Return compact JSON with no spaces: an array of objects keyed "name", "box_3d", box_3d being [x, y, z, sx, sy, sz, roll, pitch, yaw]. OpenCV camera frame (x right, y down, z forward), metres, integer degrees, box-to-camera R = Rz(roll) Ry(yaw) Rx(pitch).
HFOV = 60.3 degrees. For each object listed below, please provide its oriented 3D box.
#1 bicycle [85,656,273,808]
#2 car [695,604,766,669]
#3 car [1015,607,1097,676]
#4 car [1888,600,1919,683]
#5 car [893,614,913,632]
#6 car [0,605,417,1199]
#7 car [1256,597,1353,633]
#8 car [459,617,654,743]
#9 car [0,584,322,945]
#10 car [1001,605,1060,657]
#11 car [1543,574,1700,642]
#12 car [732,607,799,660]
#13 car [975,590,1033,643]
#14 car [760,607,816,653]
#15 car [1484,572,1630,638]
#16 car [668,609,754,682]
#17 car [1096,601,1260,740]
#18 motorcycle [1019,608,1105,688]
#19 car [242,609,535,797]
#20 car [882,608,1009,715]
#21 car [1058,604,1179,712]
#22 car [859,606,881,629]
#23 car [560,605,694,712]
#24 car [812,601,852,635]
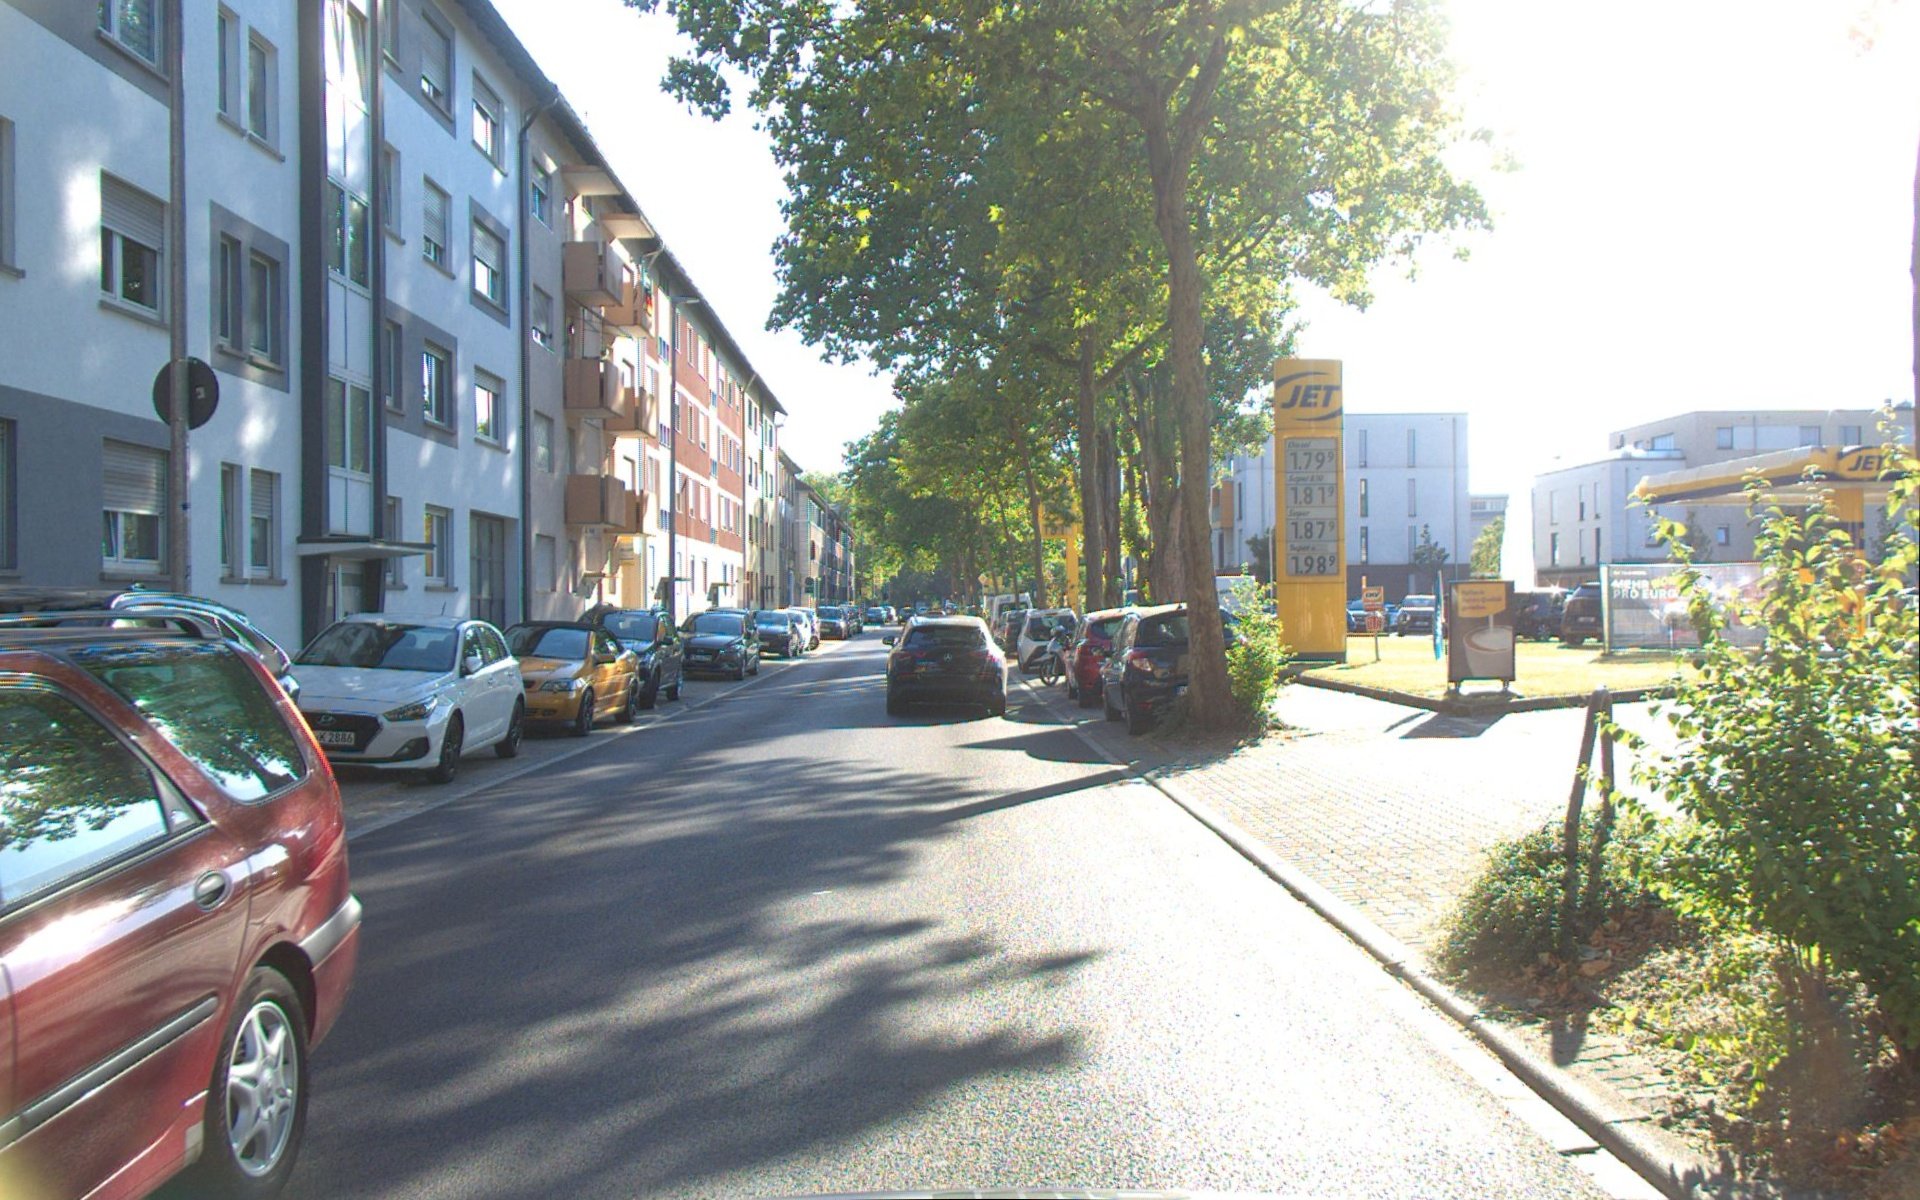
[{"name":"bicycle","box_3d":[-6.366,1.049,13.579,0.544,1.105,1.715,-1,0,7]},{"name":"car","box_3d":[-6.205,0.957,45.038,1.679,1.589,3.793,3,0,-6]},{"name":"car","box_3d":[2.298,0.987,40.521,1.687,1.585,3.599,1,-1,-2]},{"name":"car","box_3d":[17.231,0.705,27.718,3.526,1.347,1.668,1,-2,-37]},{"name":"car","box_3d":[-5.485,2.223,158.348,1.863,1.690,3.998,0,-2,-1]},{"name":"car","box_3d":[-2.460,0.816,2.774,1.629,1.550,4.411,-2,0,-1]},{"name":"car","box_3d":[15.306,0.675,73.583,3.907,1.556,1.806,0,-2,-3]},{"name":"car","box_3d":[-5.247,0.981,22.019,1.564,1.459,4.216,1,0,-1]},{"name":"car","box_3d":[-5.259,0.750,9.483,1.564,1.670,4.411,1,0,-2]},{"name":"car","box_3d":[2.205,0.980,52.579,1.600,1.585,3.599,1,-1,-2]},{"name":"car","box_3d":[16.878,0.199,42.191,3.782,1.616,1.683,-1,0,-28]},{"name":"car","box_3d":[-6.320,1.072,54.083,1.677,1.589,3.800,3,0,-1]},{"name":"car","box_3d":[1.722,0.685,65.674,1.954,2.049,3.996,0,-2,-4]},{"name":"car","box_3d":[-6.470,1.114,62.417,1.677,1.589,3.800,3,0,-1]},{"name":"car","box_3d":[16.905,0.144,46.810,3.782,1.741,1.824,-1,0,-28]},{"name":"car","box_3d":[-5.715,1.021,38.317,1.679,1.490,3.793,3,0,-6]},{"name":"car","box_3d":[2.723,0.854,21.308,1.528,1.624,3.599,1,-1,-2]},{"name":"motorcycle","box_3d":[2.057,0.963,33.289,1.619,1.585,0.607,1,-1,-23]},{"name":"car","box_3d":[-5.362,0.889,16.036,1.516,1.550,4.004,1,0,-2]},{"name":"car","box_3d":[-0.142,0.881,25.306,1.708,1.469,3.970,1,0,2]},{"name":"car","box_3d":[2.535,0.910,27.127,1.528,1.624,3.600,1,-1,-2]},{"name":"car","box_3d":[-8.093,1.614,149.586,1.868,1.982,3.998,0,-2,-1]},{"name":"car","box_3d":[-5.574,0.938,28.066,1.564,1.658,3.836,1,0,-2]},{"name":"car","box_3d":[-6.482,0.911,83.830,1.677,1.589,3.800,3,0,-1]}]
